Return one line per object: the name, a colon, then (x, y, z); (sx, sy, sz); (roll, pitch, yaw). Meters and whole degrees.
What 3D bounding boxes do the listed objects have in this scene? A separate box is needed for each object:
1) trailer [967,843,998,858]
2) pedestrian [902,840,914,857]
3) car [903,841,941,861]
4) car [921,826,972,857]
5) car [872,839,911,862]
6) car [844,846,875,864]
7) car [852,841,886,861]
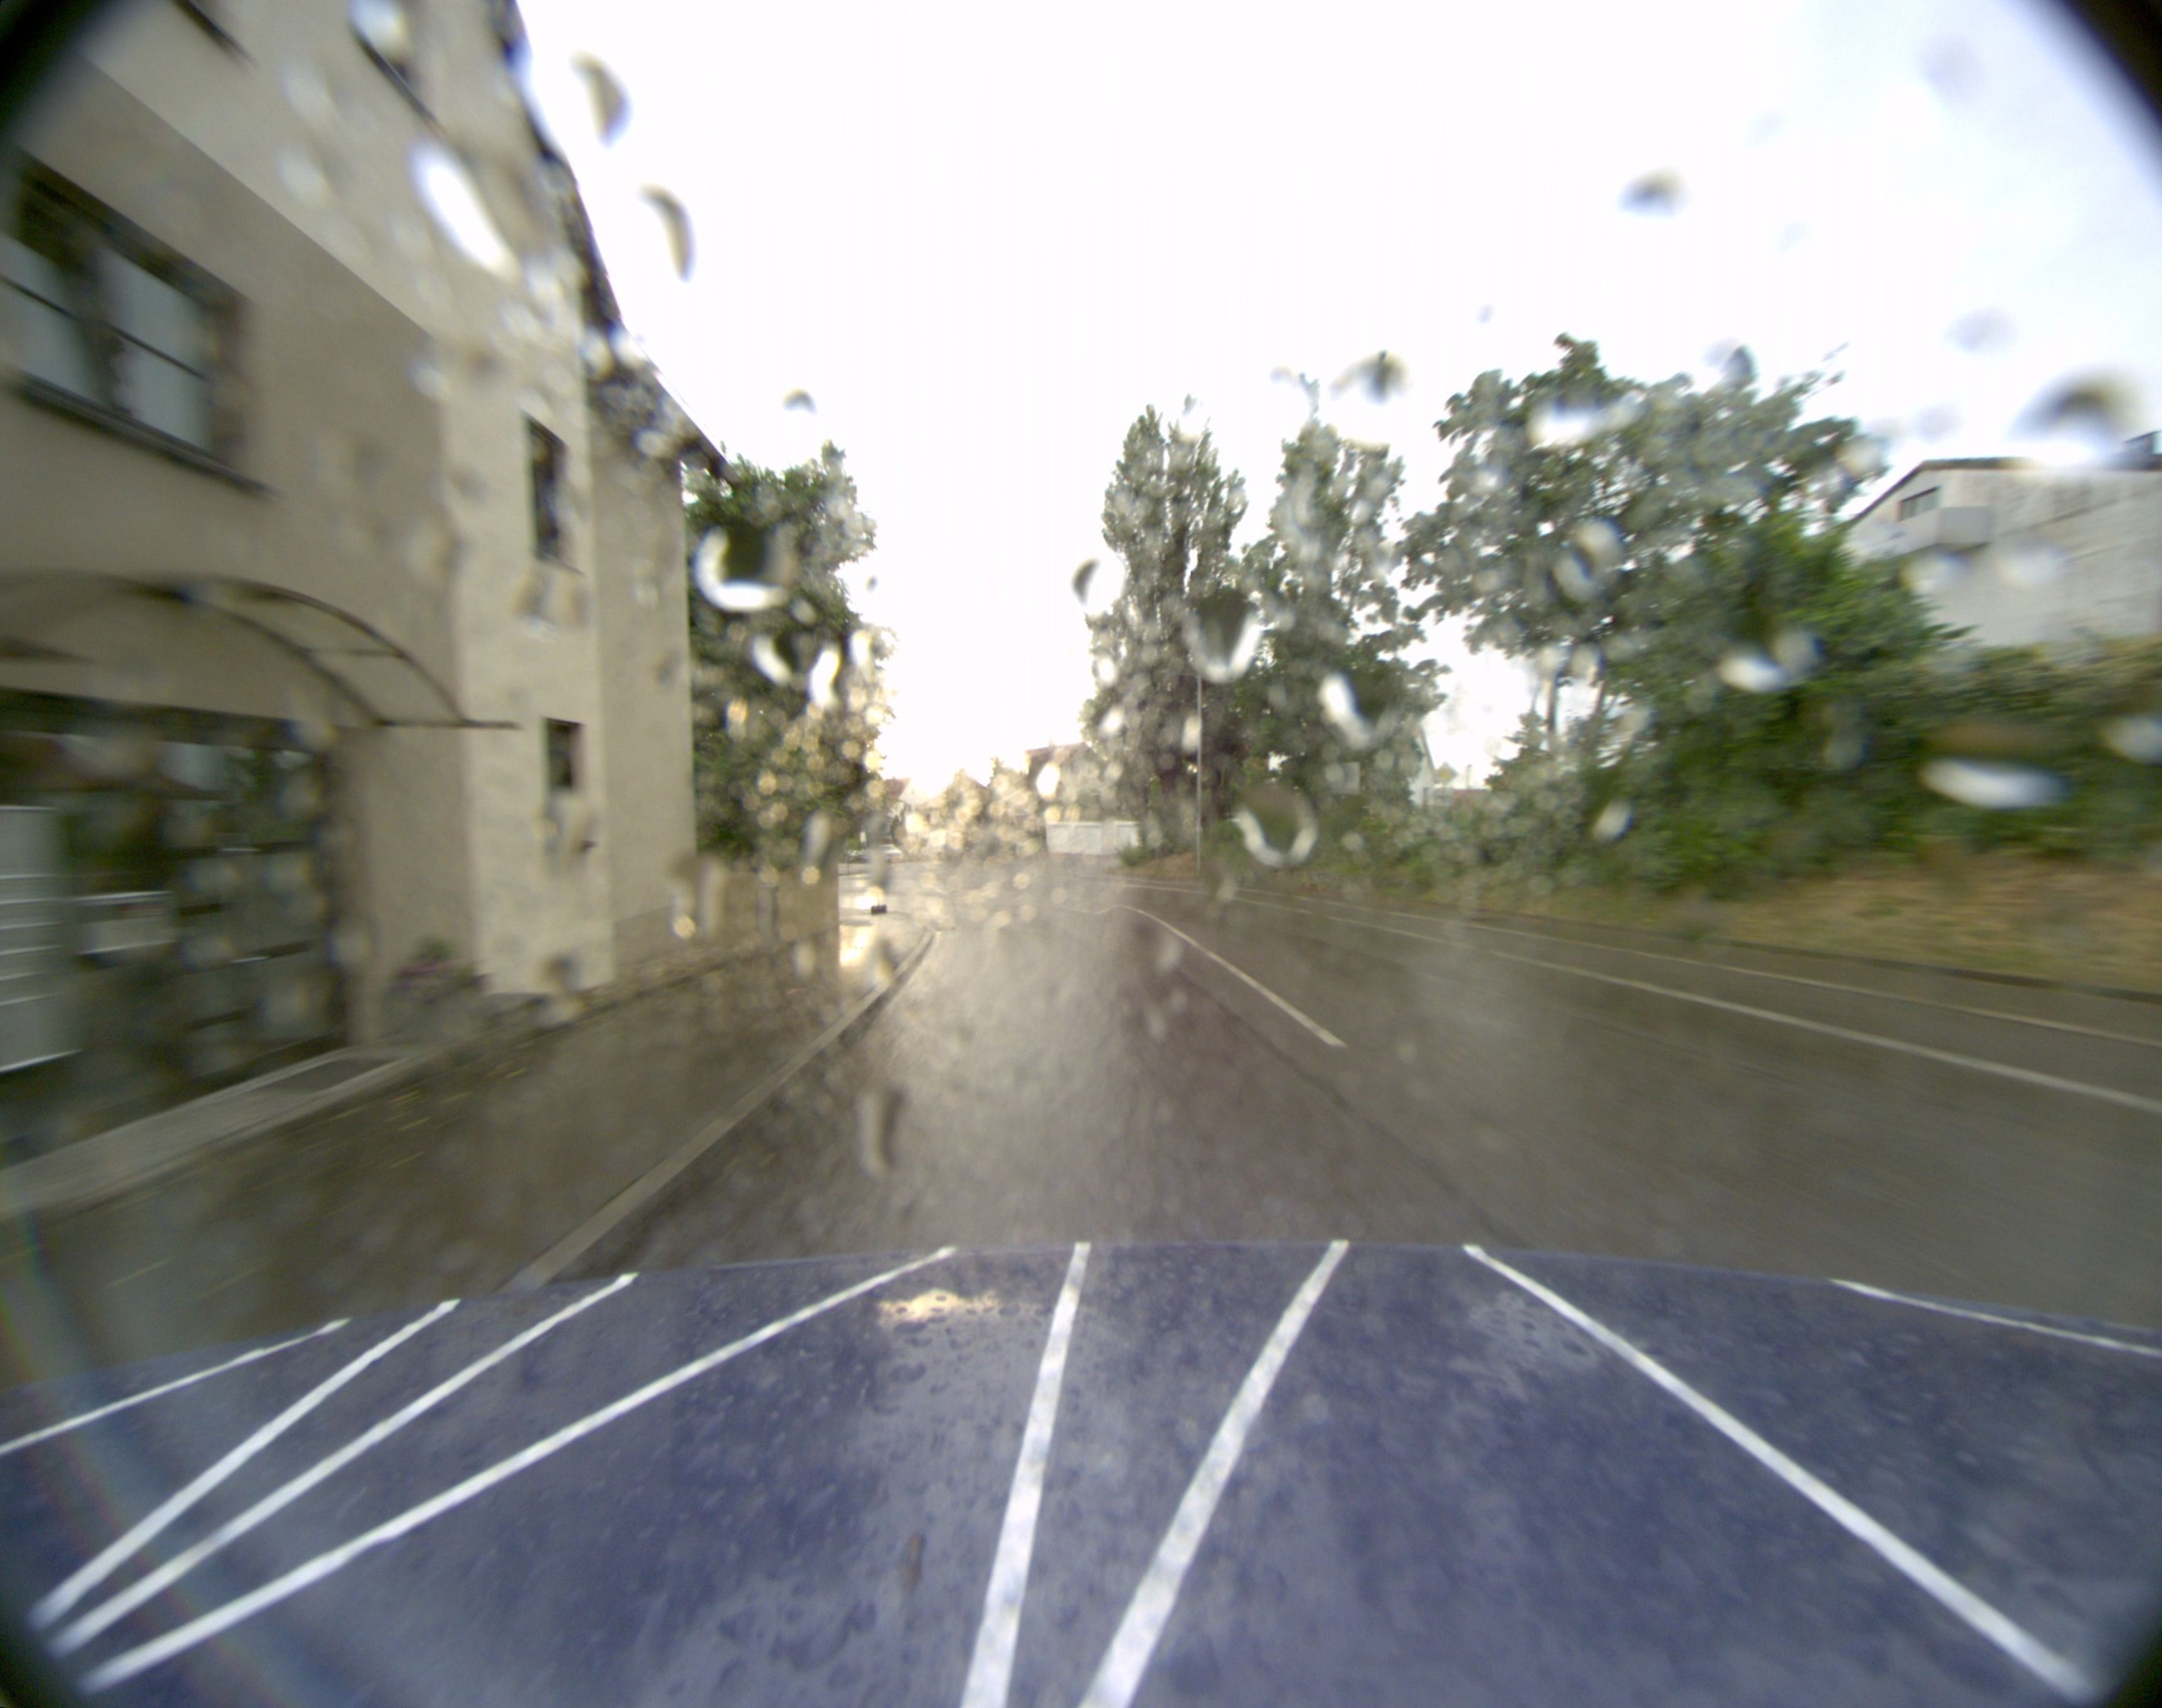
trailer: (-7.865, -0.303, 60.569); (1.595, 1.001, 2.817); (-5, 3, -24)
pedestrian: (-16.045, -0.520, 70.535); (0.826, 1.502, 0.974); (-4, 4, -26)
car: (-15.322, -0.335, 72.886); (2.070, 1.697, 4.781); (-5, 3, -30)
car: (-11.898, -1.141, 66.902); (2.194, 2.510, 6.237); (-5, 3, -30)
car: (-15.635, -0.334, 62.468); (2.070, 1.697, 4.782); (-4, 3, -26)
car: (-21.364, 0.059, 73.205); (2.070, 1.502, 4.471); (-4, 3, -26)
car: (-19.044, -0.296, 68.174); (2.070, 1.502, 4.471); (-4, 3, -26)
